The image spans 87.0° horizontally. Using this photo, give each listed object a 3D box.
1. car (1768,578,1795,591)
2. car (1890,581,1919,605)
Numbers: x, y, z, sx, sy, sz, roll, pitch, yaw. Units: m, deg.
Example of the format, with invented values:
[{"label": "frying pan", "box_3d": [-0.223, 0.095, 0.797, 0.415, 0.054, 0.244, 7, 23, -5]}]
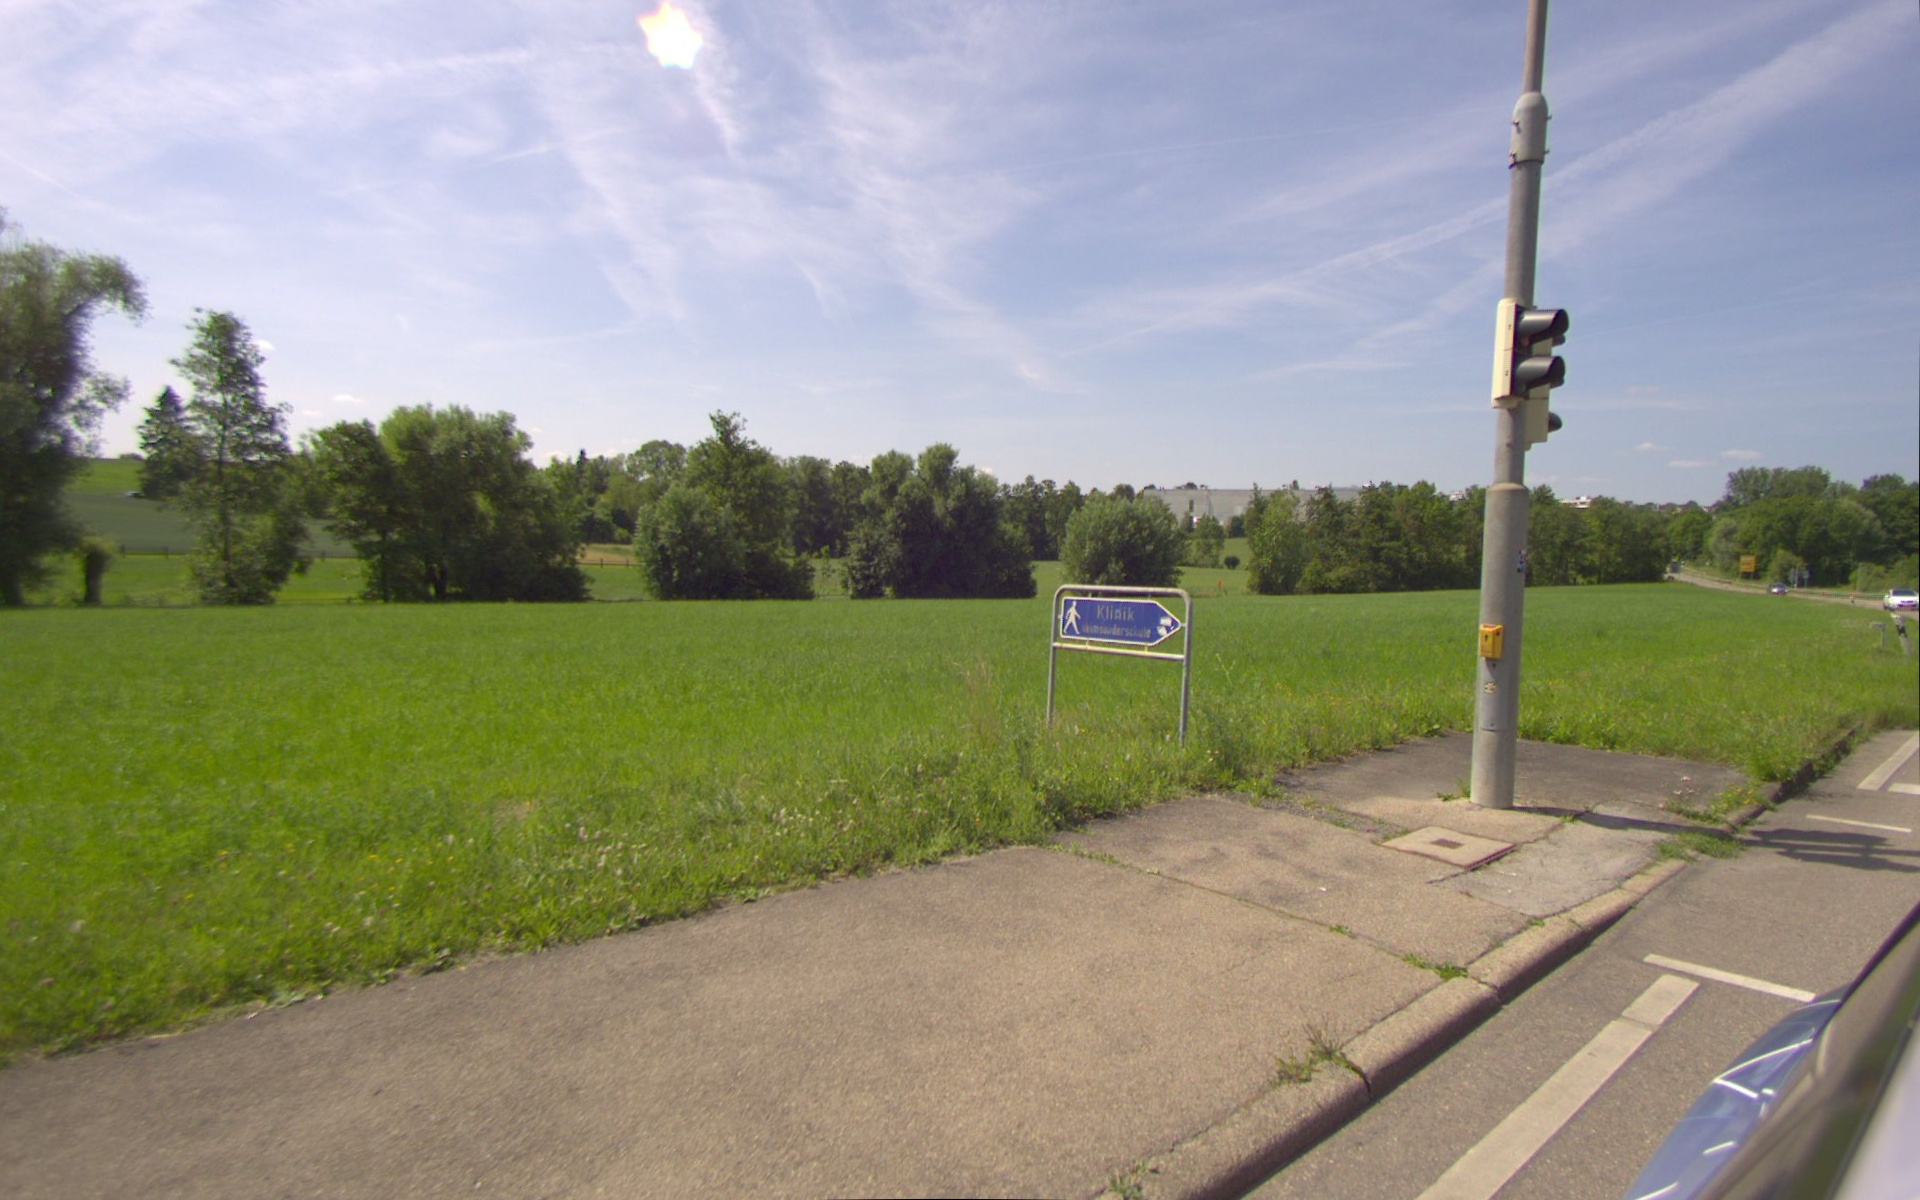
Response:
[{"label": "car", "box_3d": [101.987, -1.895, 125.684, 1.984, 1.605, 3.956, 1, 1, 31]}, {"label": "car", "box_3d": [66.395, -0.479, 70.409, 1.987, 1.605, 3.950, 1, 1, 35]}]
